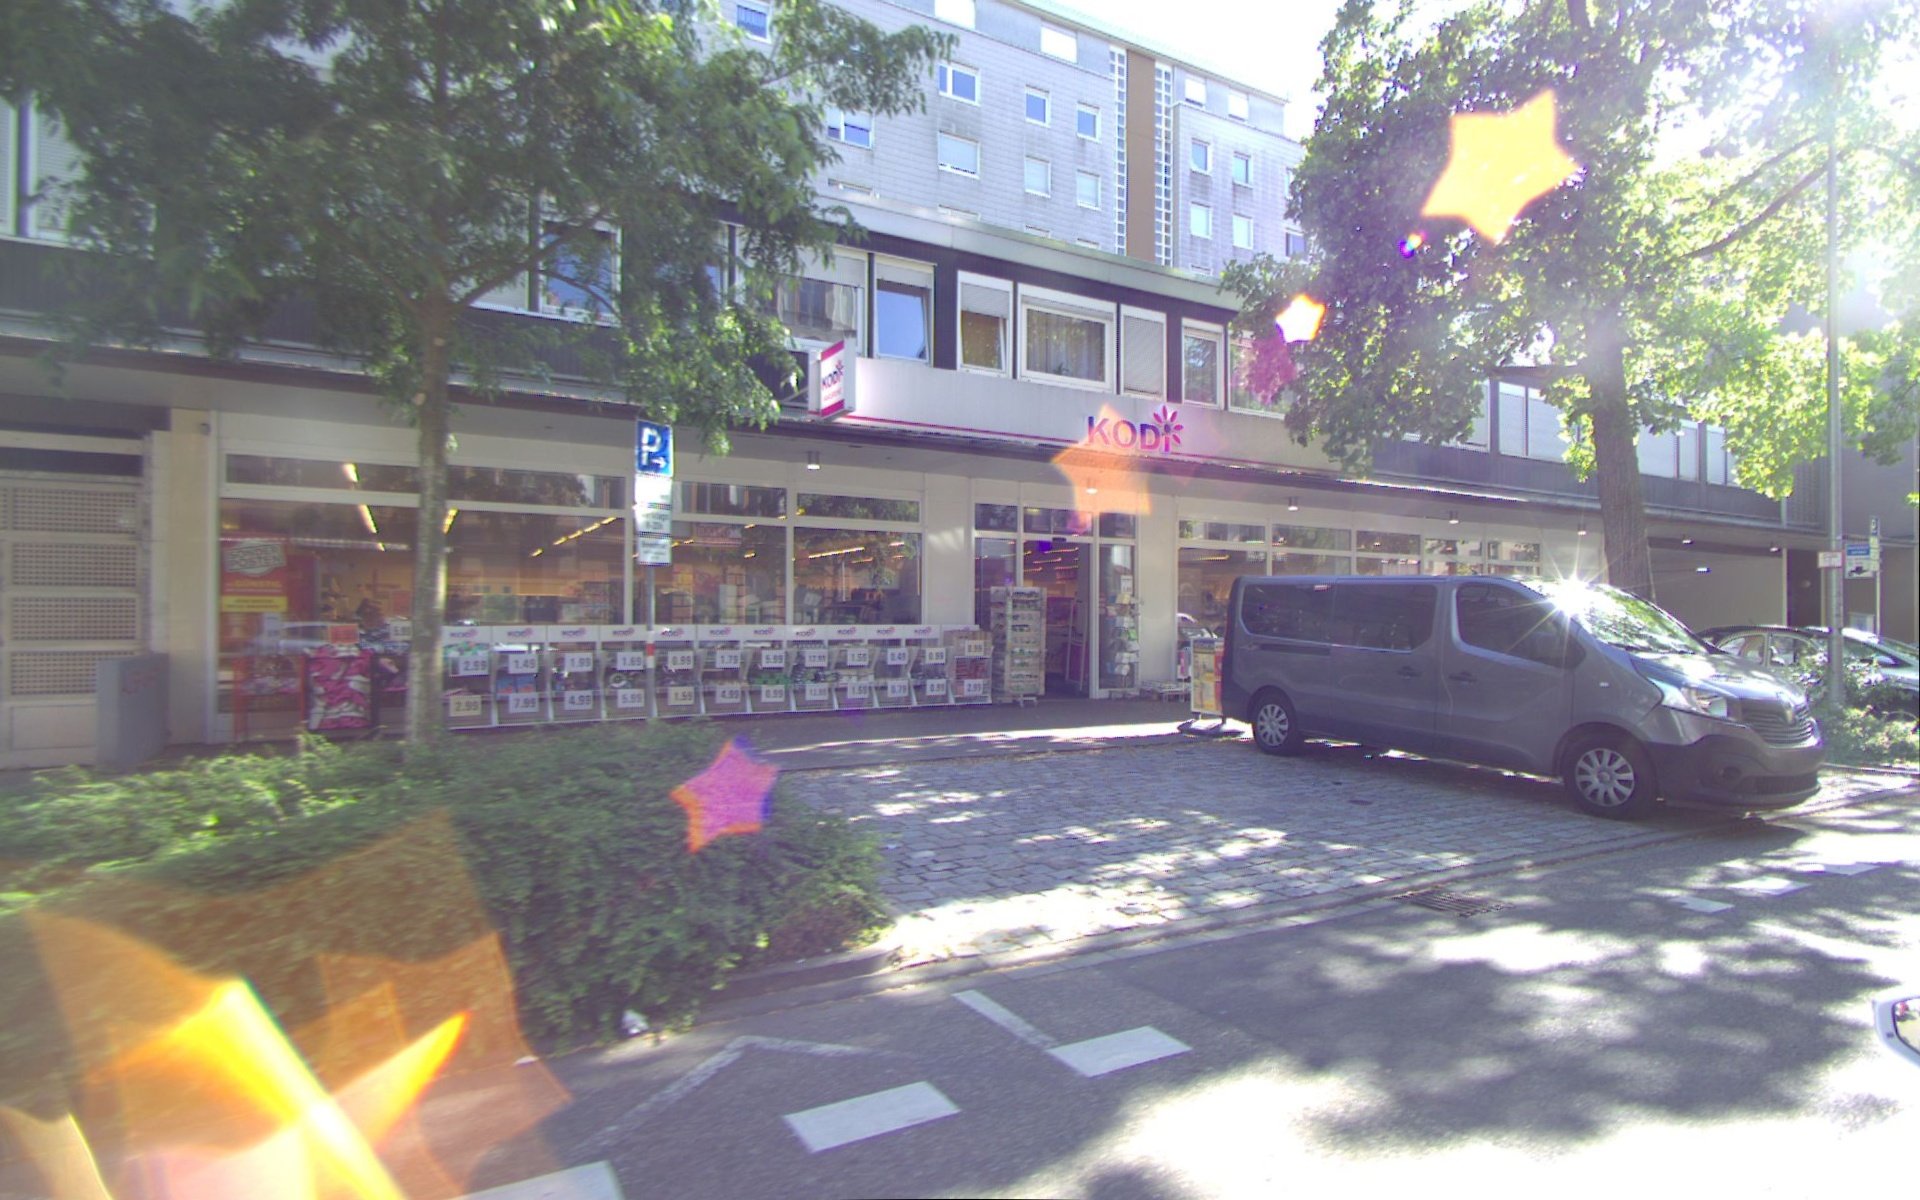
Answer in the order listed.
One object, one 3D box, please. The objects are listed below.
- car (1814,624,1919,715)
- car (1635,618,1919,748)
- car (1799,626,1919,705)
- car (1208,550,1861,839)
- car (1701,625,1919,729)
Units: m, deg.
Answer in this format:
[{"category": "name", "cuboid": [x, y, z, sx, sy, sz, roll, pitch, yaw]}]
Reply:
[{"category": "car", "cuboid": [17.147, 1.201, 16.606, 1.739, 1.479, 4.289, 1, 0, -27]}, {"category": "car", "cuboid": [11.852, 1.062, 14.123, 1.663, 1.572, 3.583, 1, -1, -28]}, {"category": "car", "cuboid": [18.936, 1.255, 19.103, 1.624, 1.452, 4.286, 1, 0, -29]}, {"category": "car", "cuboid": [5.002, 0.682, 9.768, 1.991, 2.000, 5.269, 1, -1, -29]}, {"category": "car", "cuboid": [14.423, 1.173, 15.923, 1.792, 1.483, 3.965, 1, -1, -32]}]
